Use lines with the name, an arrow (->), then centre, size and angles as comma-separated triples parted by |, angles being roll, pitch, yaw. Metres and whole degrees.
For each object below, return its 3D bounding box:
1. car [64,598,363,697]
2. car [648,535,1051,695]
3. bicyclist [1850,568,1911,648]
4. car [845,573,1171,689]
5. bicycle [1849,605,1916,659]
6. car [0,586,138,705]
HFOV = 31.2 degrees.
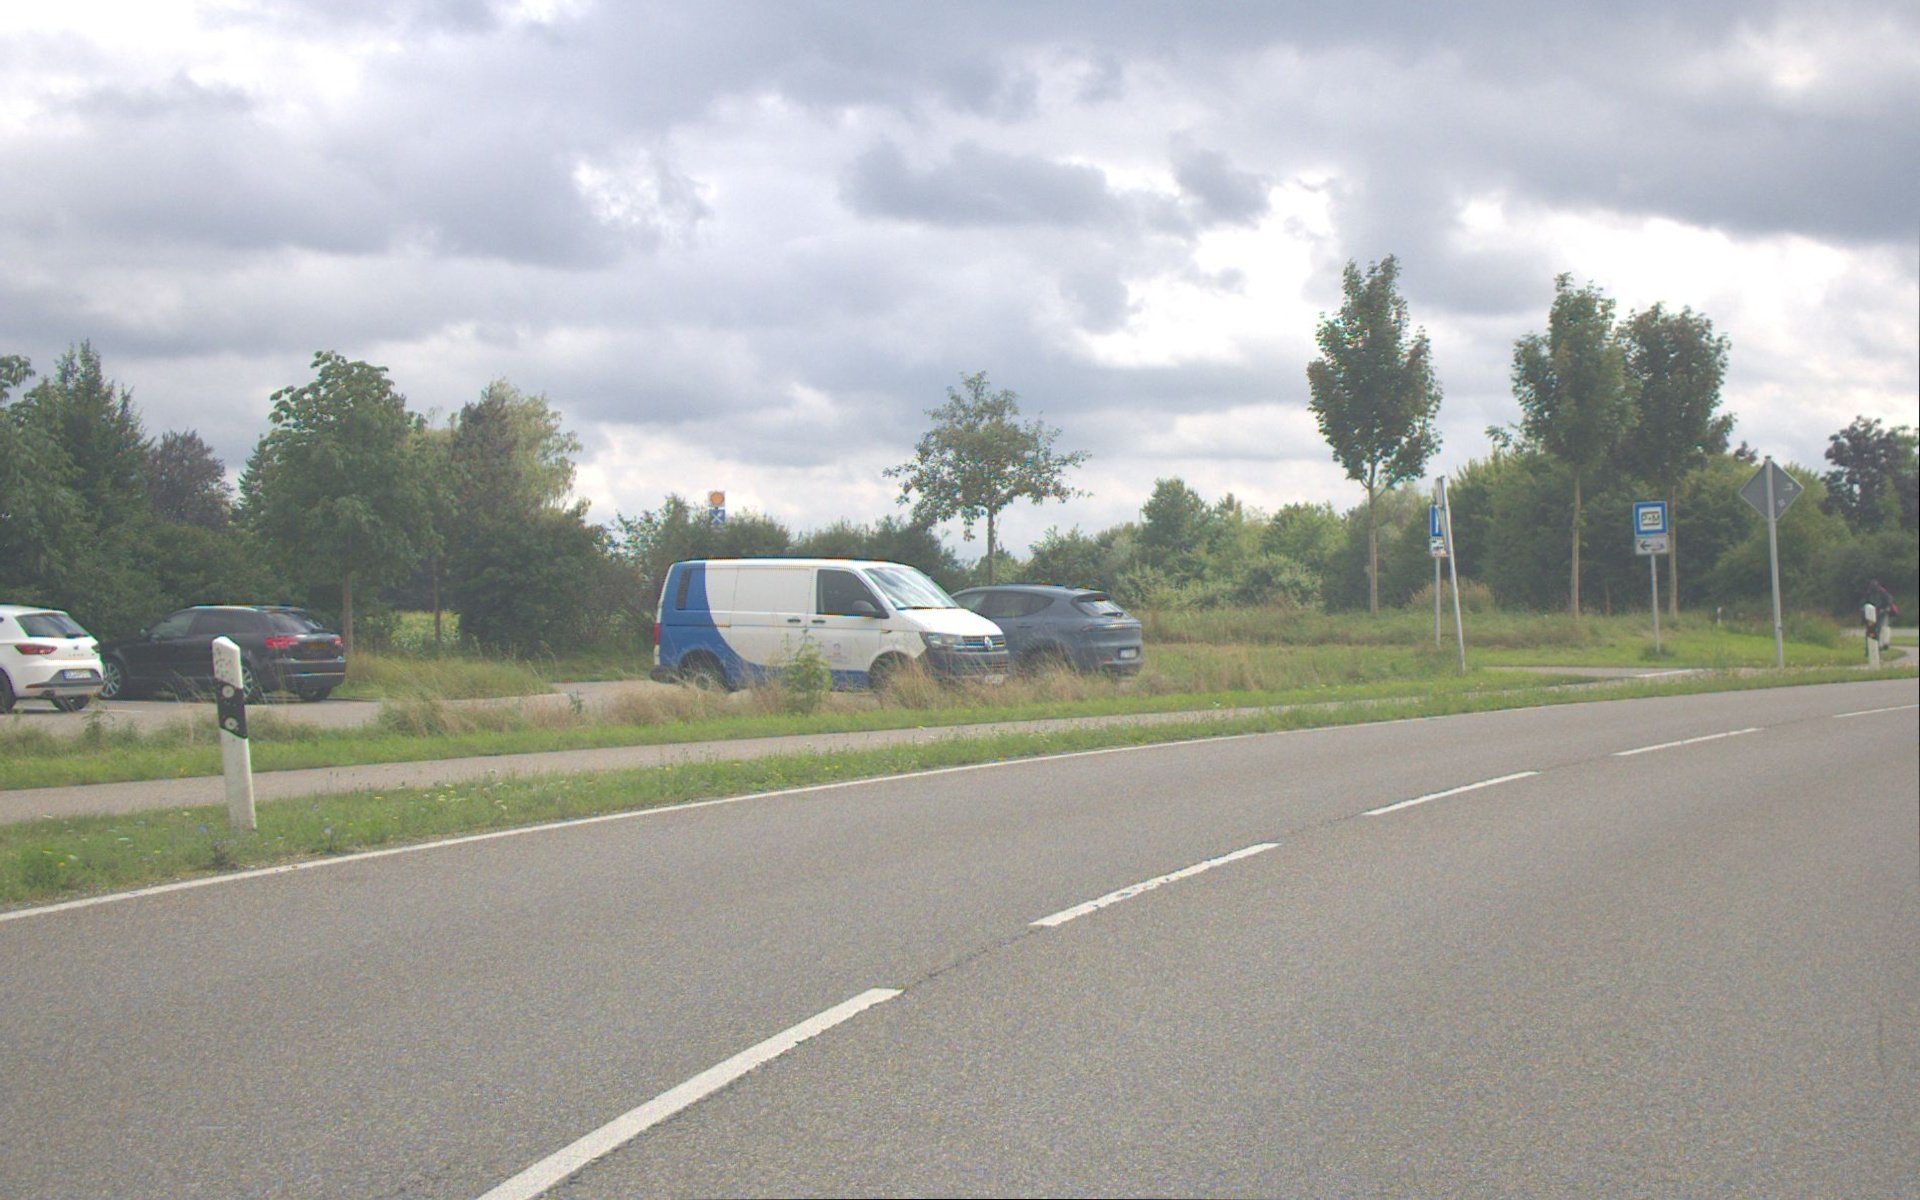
car -> -11.029, 0.676, 50.789 | 3.992, 1.382, 1.840 | 0, 1, 24
car -> -1.470, 0.210, 45.156 | 4.901, 2.007, 2.053 | -1, 0, 29
bicyclist -> 18.238, 0.161, 68.115 | 0.832, 1.560, 1.053 | -1, 0, 34
car -> 0.682, 0.447, 49.518 | 4.255, 1.589, 1.997 | -1, 0, 31
bicycle -> 18.274, 0.633, 68.075 | 0.637, 1.028, 2.187 | -1, 0, 32
car -> -13.399, 0.586, 46.632 | 3.992, 1.547, 1.963 | 0, 1, 24
